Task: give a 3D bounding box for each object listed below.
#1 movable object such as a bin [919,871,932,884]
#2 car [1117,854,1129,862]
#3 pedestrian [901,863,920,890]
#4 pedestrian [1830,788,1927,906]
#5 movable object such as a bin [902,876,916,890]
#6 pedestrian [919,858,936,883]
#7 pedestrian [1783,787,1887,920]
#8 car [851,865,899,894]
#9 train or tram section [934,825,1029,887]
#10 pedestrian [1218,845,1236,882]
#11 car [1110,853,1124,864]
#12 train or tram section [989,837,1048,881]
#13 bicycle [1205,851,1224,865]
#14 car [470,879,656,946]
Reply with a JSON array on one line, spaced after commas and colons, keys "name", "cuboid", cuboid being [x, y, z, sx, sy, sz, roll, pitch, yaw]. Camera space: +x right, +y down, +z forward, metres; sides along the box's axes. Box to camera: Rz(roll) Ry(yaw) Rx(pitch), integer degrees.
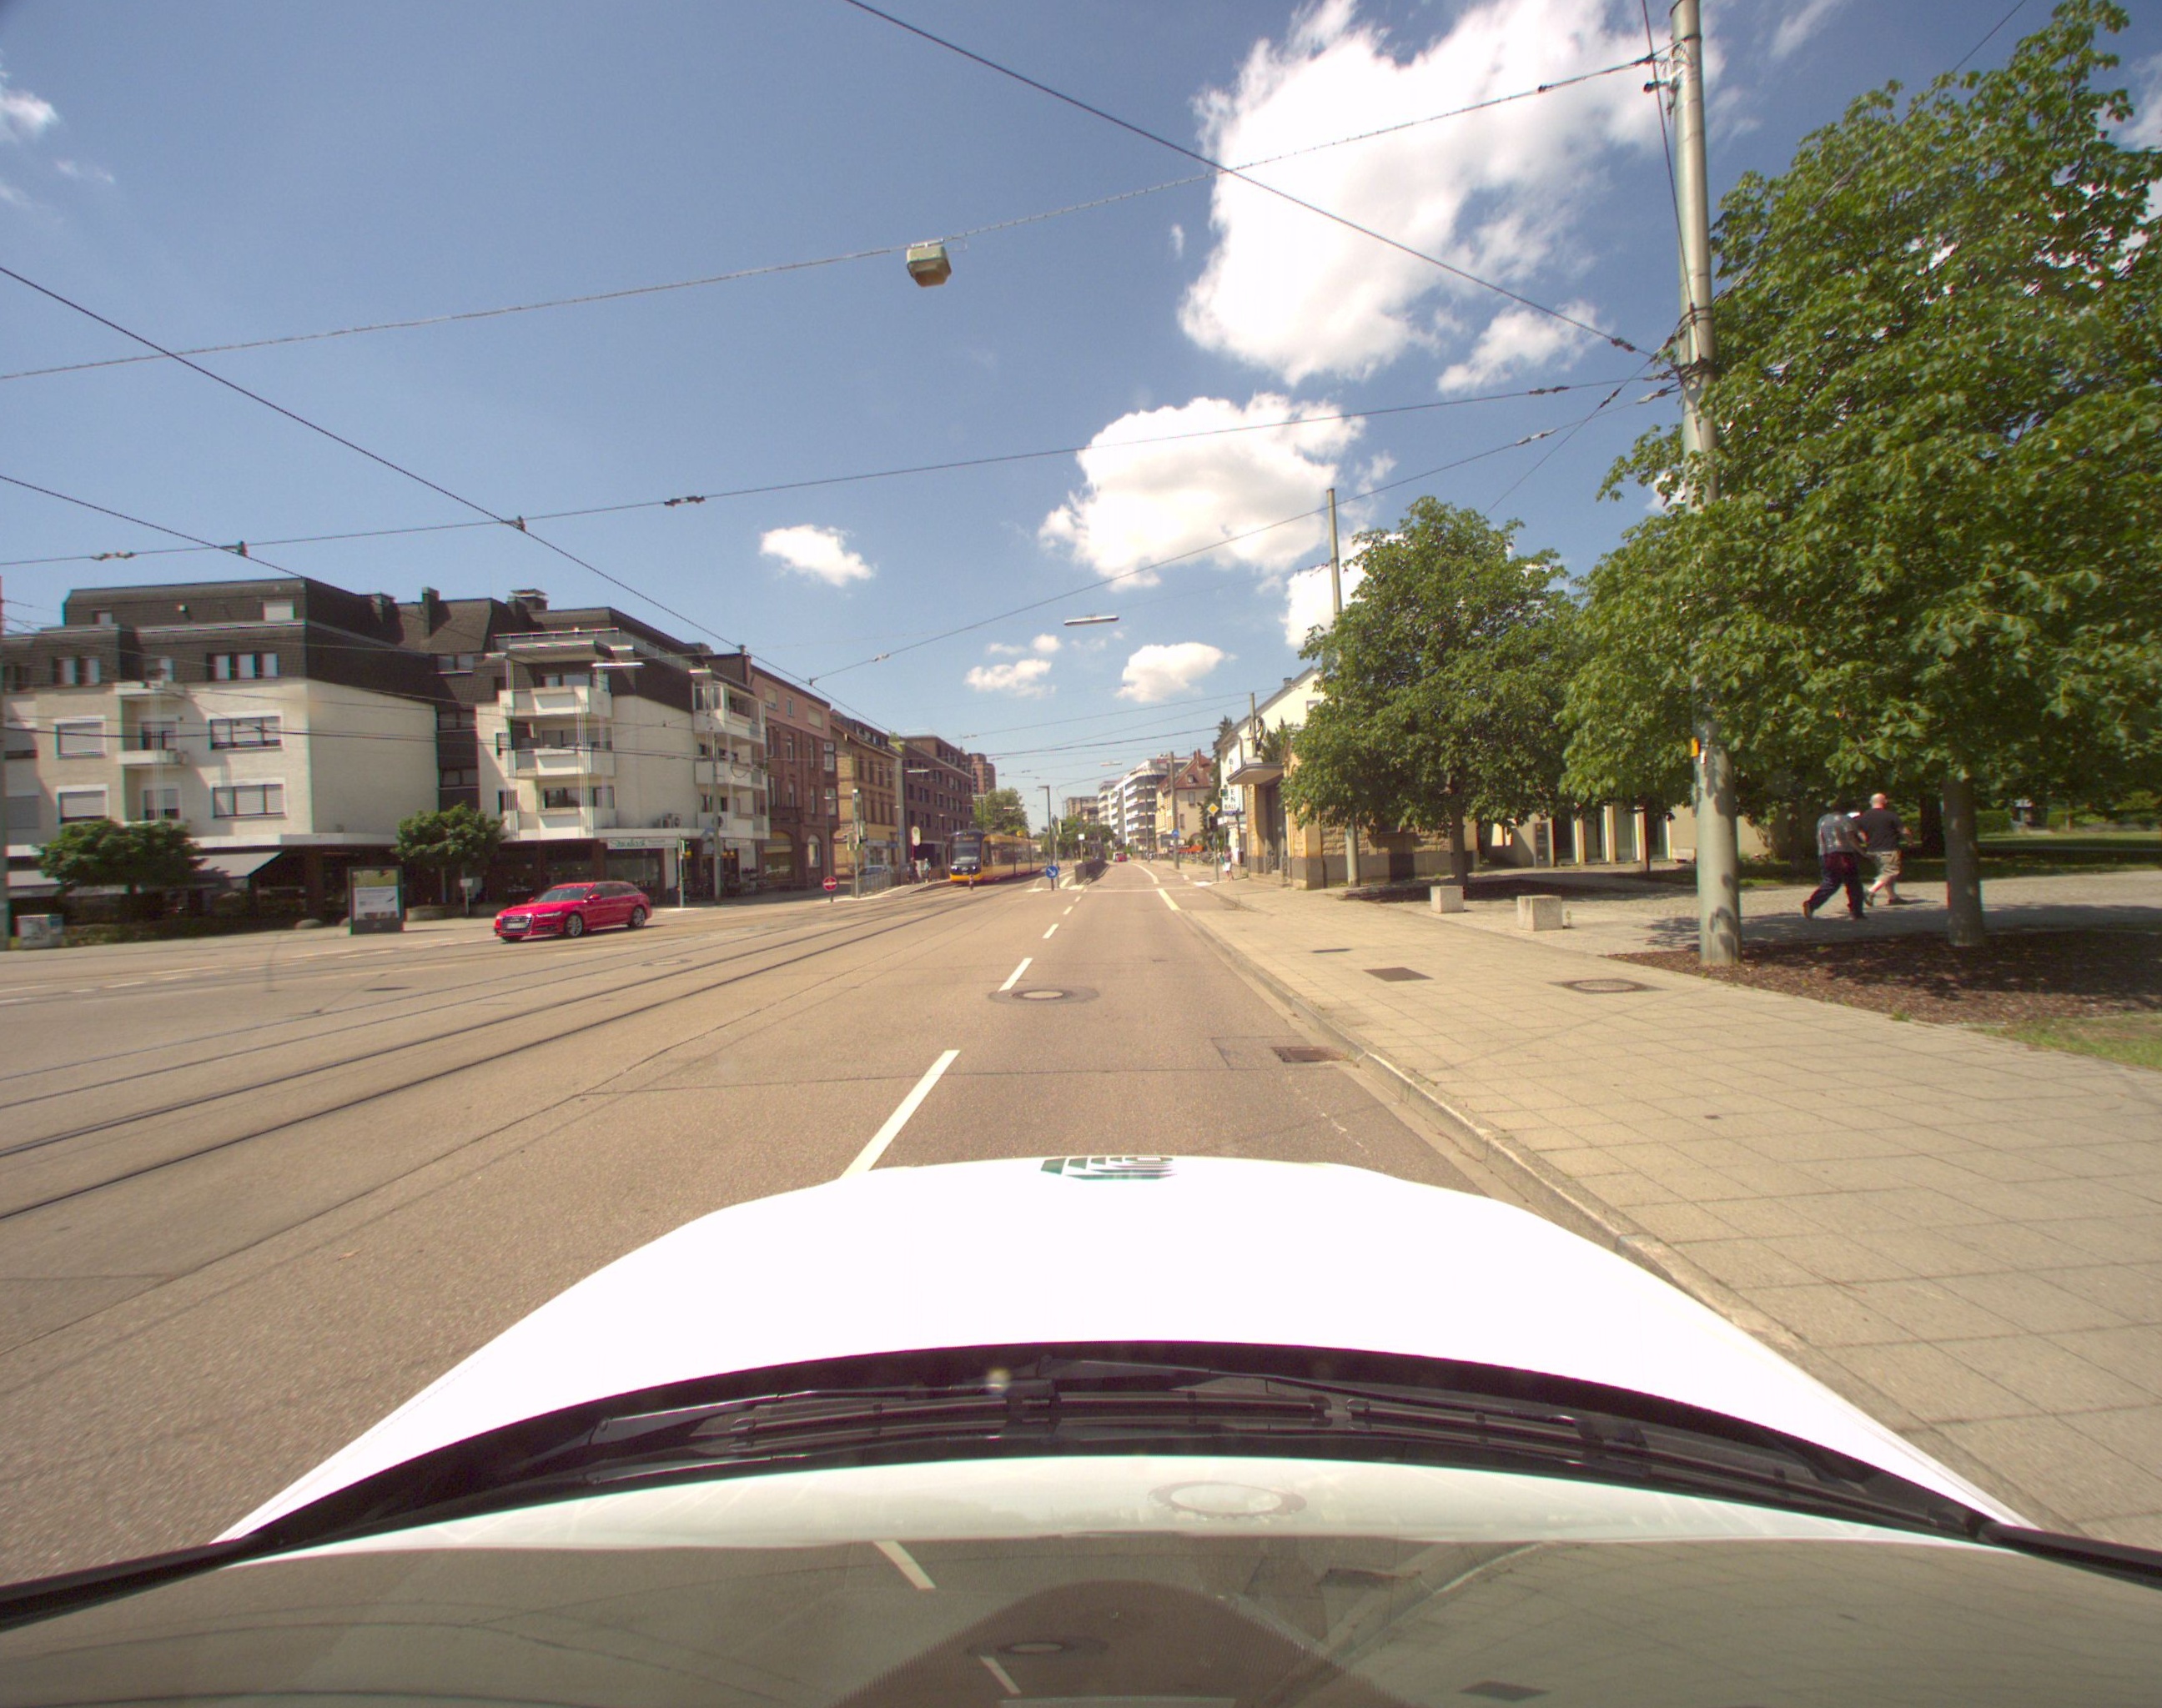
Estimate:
[{"name": "movable object such as a bin", "cuboid": [-9.634, 1.443, 50.502, 0.672, 0.780, 0.619, -3, 0, 1]}, {"name": "car", "cuboid": [8.220, 0.734, 159.893, 1.989, 1.442, 4.012, -3, 0, -3]}, {"name": "pedestrian", "cuboid": [-10.176, 1.349, 48.618, 0.782, 1.560, 0.921, -3, 0, 3]}, {"name": "pedestrian", "cuboid": [12.614, -0.114, 12.911, 0.672, 1.780, 0.811, -3, 0, 6]}, {"name": "movable object such as a bin", "cuboid": [-10.169, 1.704, 48.074, 0.672, 0.780, 0.538, -3, 0, 1]}, {"name": "pedestrian", "cuboid": [-9.610, 1.032, 51.095, 0.782, 1.560, 0.921, -3, 0, 3]}, {"name": "pedestrian", "cuboid": [10.703, -0.007, 11.593, 0.672, 1.798, 0.811, -3, 0, 6]}, {"name": "car", "cuboid": [-13.065, 1.574, 51.925, 1.729, 1.615, 4.607, -3, 0, 2]}, {"name": "train or tram section", "cuboid": [-6.620, 0.219, 59.122, 3.237, 3.567, 20.515, -3, -1, 3]}, {"name": "pedestrian", "cuboid": [6.724, 0.423, 37.510, 0.558, 1.666, 0.685, -3, 0, 25]}, {"name": "car", "cuboid": [7.350, 0.949, 166.596, 1.990, 1.991, 5.505, -4, 0, -5]}, {"name": "train or tram section", "cuboid": [-5.648, 0.461, 77.363, 3.221, 3.567, 16.363, -3, -1, 3]}, {"name": "bicycle", "cuboid": [11.308, 0.316, 69.003, 1.524, 1.086, 0.430, -5, -1, 8]}, {"name": "car", "cuboid": [-14.367, 1.563, 23.002, 1.986, 1.450, 4.823, -3, 0, 2]}]
